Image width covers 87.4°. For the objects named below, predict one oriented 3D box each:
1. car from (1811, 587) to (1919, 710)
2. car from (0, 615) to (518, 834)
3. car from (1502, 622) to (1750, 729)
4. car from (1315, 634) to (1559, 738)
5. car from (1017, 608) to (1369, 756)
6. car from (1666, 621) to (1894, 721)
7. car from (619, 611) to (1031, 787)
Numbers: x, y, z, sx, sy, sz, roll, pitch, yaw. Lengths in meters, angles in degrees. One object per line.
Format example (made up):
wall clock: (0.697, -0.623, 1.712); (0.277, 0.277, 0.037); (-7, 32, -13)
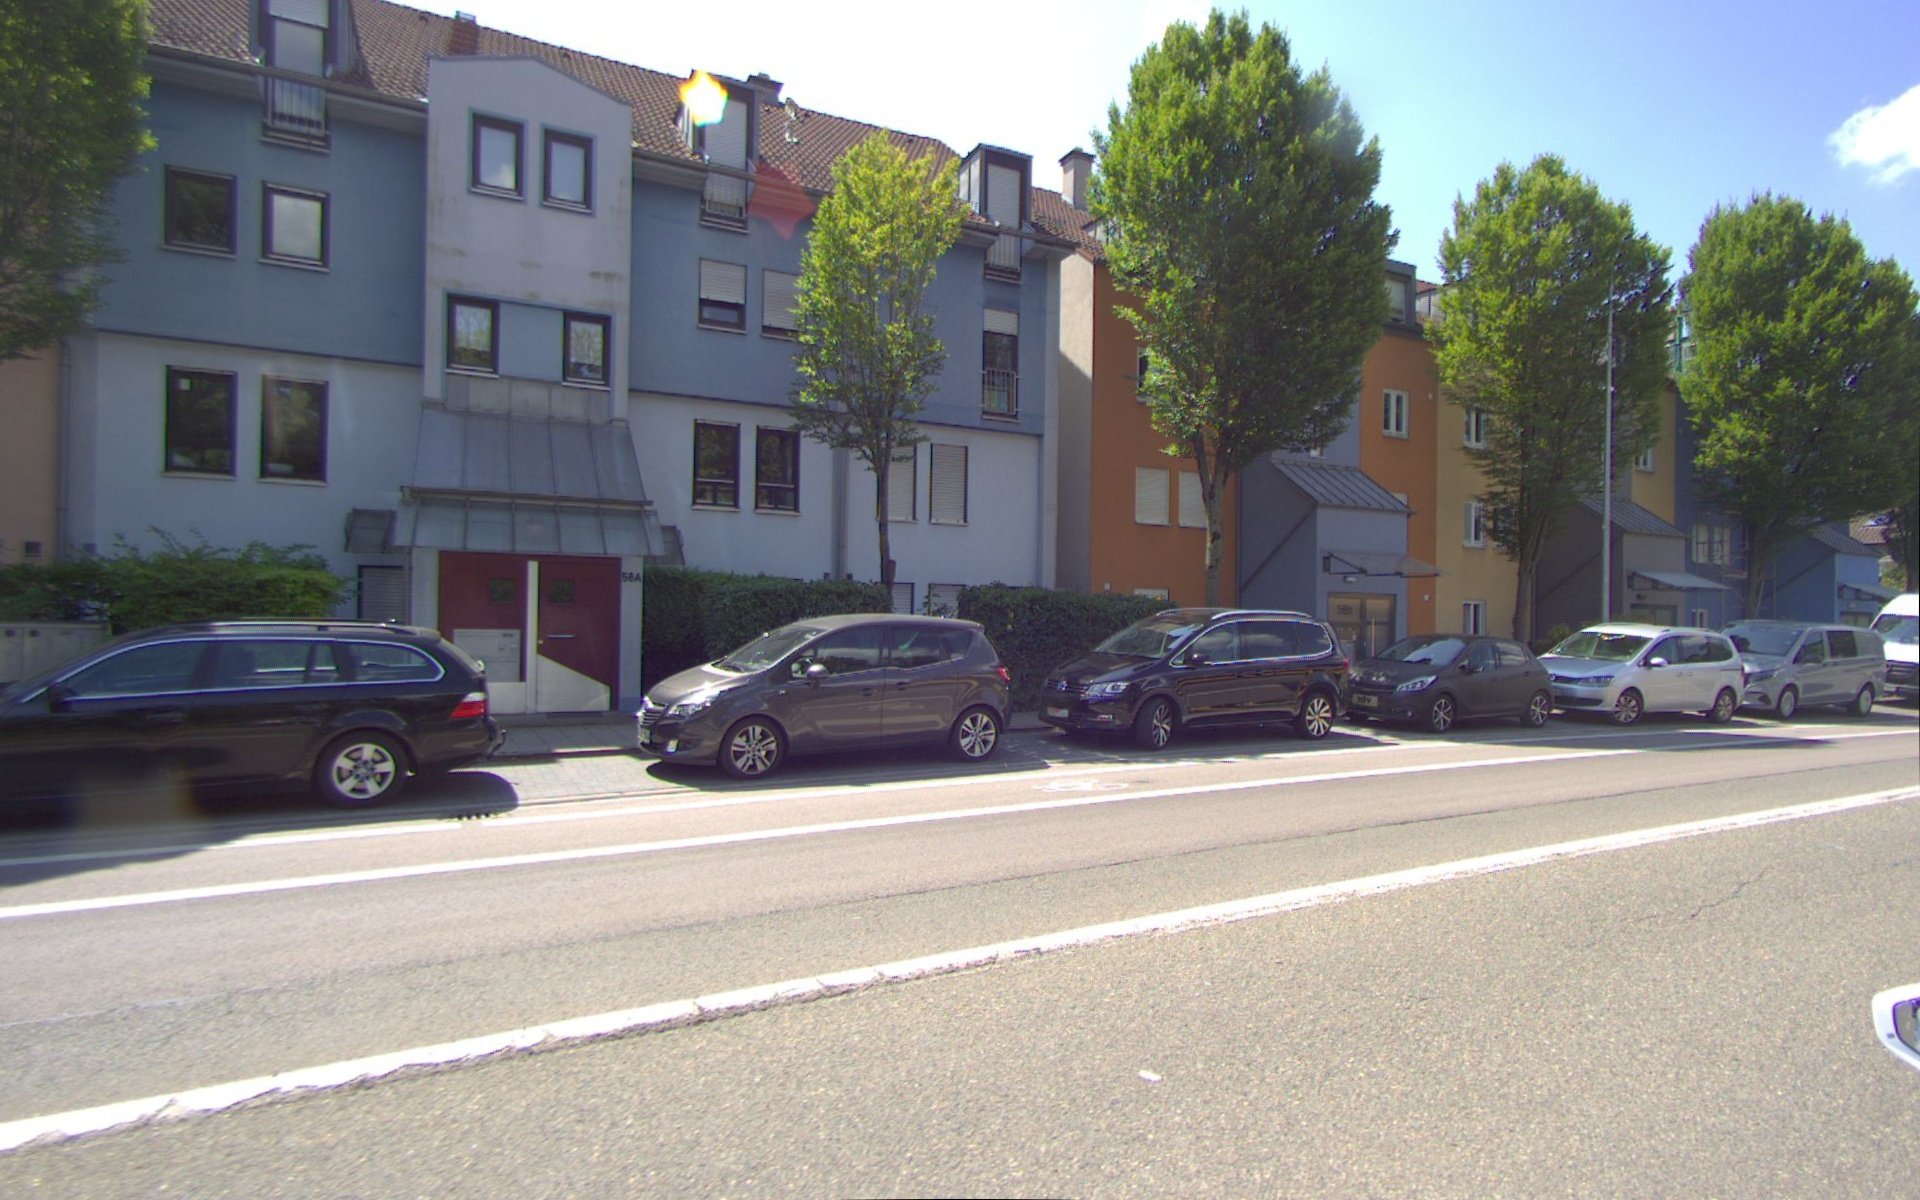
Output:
car: (24.649, 1.178, 25.173); (6.941, 2.687, 2.316); (1, 3, -26)
car: (-6.341, 0.913, 8.272); (4.769, 1.466, 1.733); (2, 1, -31)
car: (12.356, 1.323, 18.559); (4.841, 1.775, 1.710); (1, -1, -28)
car: (7.816, 1.322, 16.380); (4.038, 1.490, 1.591); (1, -1, -30)
car: (3.279, 1.018, 13.785); (4.829, 1.739, 1.743); (1, -1, -30)
car: (17.421, 1.426, 21.277); (5.293, 1.920, 1.800); (1, -1, -27)
car: (-1.429, 0.996, 11.157); (4.234, 1.639, 1.648); (2, -2, -30)
